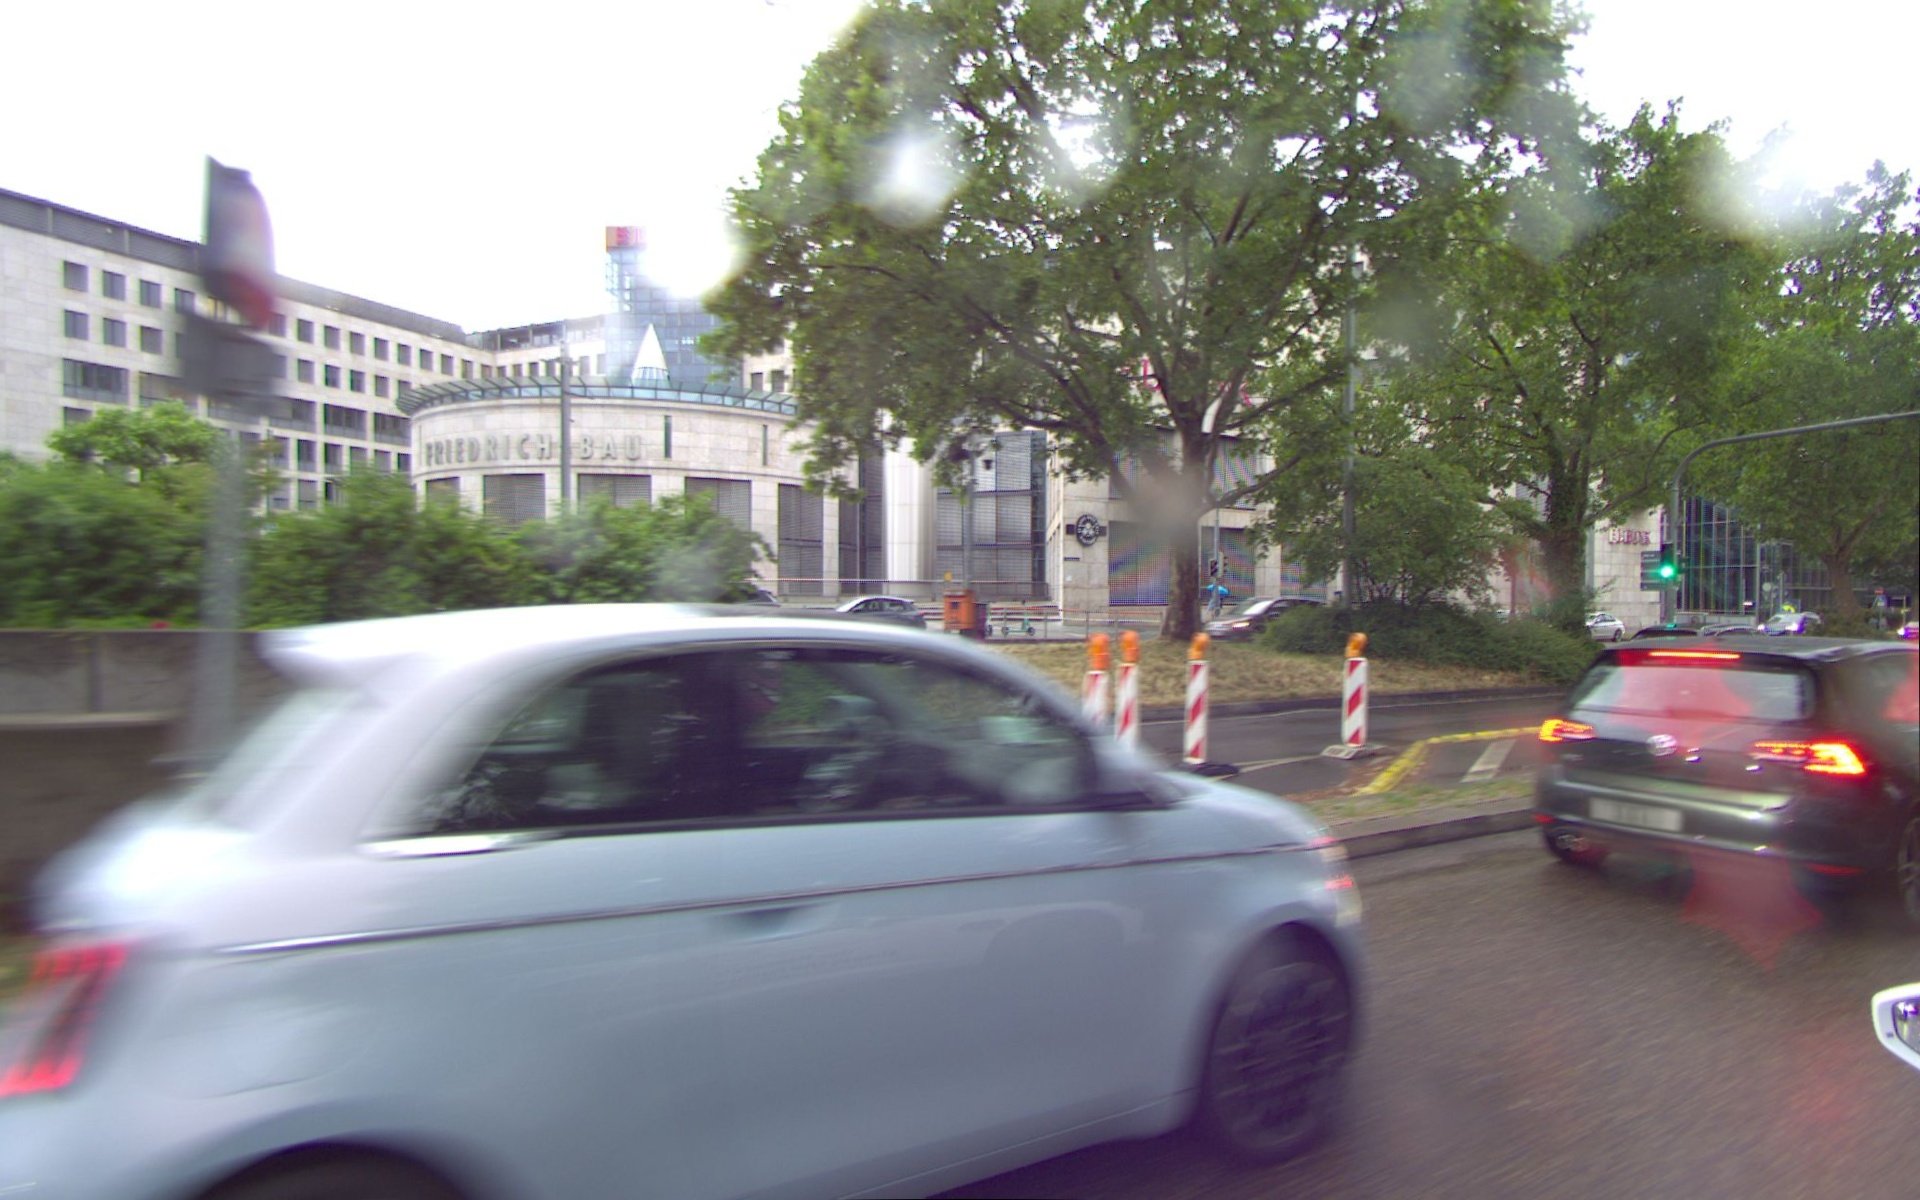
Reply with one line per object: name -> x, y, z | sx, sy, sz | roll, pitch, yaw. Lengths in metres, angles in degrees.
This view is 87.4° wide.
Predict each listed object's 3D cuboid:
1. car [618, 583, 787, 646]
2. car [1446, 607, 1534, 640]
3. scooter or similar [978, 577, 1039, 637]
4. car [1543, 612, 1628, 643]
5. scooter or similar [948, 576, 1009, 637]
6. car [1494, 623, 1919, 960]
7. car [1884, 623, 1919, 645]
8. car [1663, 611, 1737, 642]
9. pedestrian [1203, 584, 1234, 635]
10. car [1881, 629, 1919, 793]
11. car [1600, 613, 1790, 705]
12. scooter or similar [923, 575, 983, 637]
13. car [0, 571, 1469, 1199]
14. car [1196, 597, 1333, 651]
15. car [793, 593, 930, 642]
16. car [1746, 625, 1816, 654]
car -> -7.354, 0.426, 28.710 | 4.438, 1.662, 1.654 | 2, 0, -24
car -> 24.840, 1.096, 47.049 | 3.945, 1.421, 1.545 | 2, 0, -25
scooter or similar -> 1.691, 0.249, 35.788 | 0.820, 2.040, 3.068 | 1, 0, -26
car -> 31.115, 1.390, 49.928 | 4.185, 1.421, 1.682 | 2, 0, -27
scooter or similar -> 0.616, 0.216, 35.183 | 0.820, 2.040, 3.068 | 1, 0, -26
car -> 5.293, 0.891, 6.221 | 4.083, 1.482, 1.682 | 1, -1, -31
car -> 64.885, 2.345, 68.471 | 4.196, 1.384, 1.837 | 2, 0, -34
car -> 41.993, 1.504, 56.971 | 4.185, 1.664, 1.682 | 2, 0, -27
pedestrian -> 10.632, 0.366, 41.312 | 0.938, 2.041, 0.779 | 0, 3, -35
car -> 10.807, 1.025, 9.715 | 4.296, 1.482, 1.682 | 1, -1, -31
car -> 14.732, 1.109, 20.099 | 3.954, 1.641, 1.691 | 1, 0, -31
scooter or similar -> -0.283, 0.188, 34.683 | 0.820, 2.040, 3.068 | 1, 0, -26
car -> -0.295, 0.757, 2.901 | 3.465, 1.511, 1.582 | 1, -1, -31
car -> 9.622, 0.766, 31.666 | 4.239, 1.611, 1.543 | 2, 0, -28
car -> -3.069, 0.561, 31.380 | 3.945, 1.421, 1.545 | 2, 0, -25
car -> 44.522, 2.112, 54.442 | 4.454, 1.530, 1.783 | 1, -2, -34
